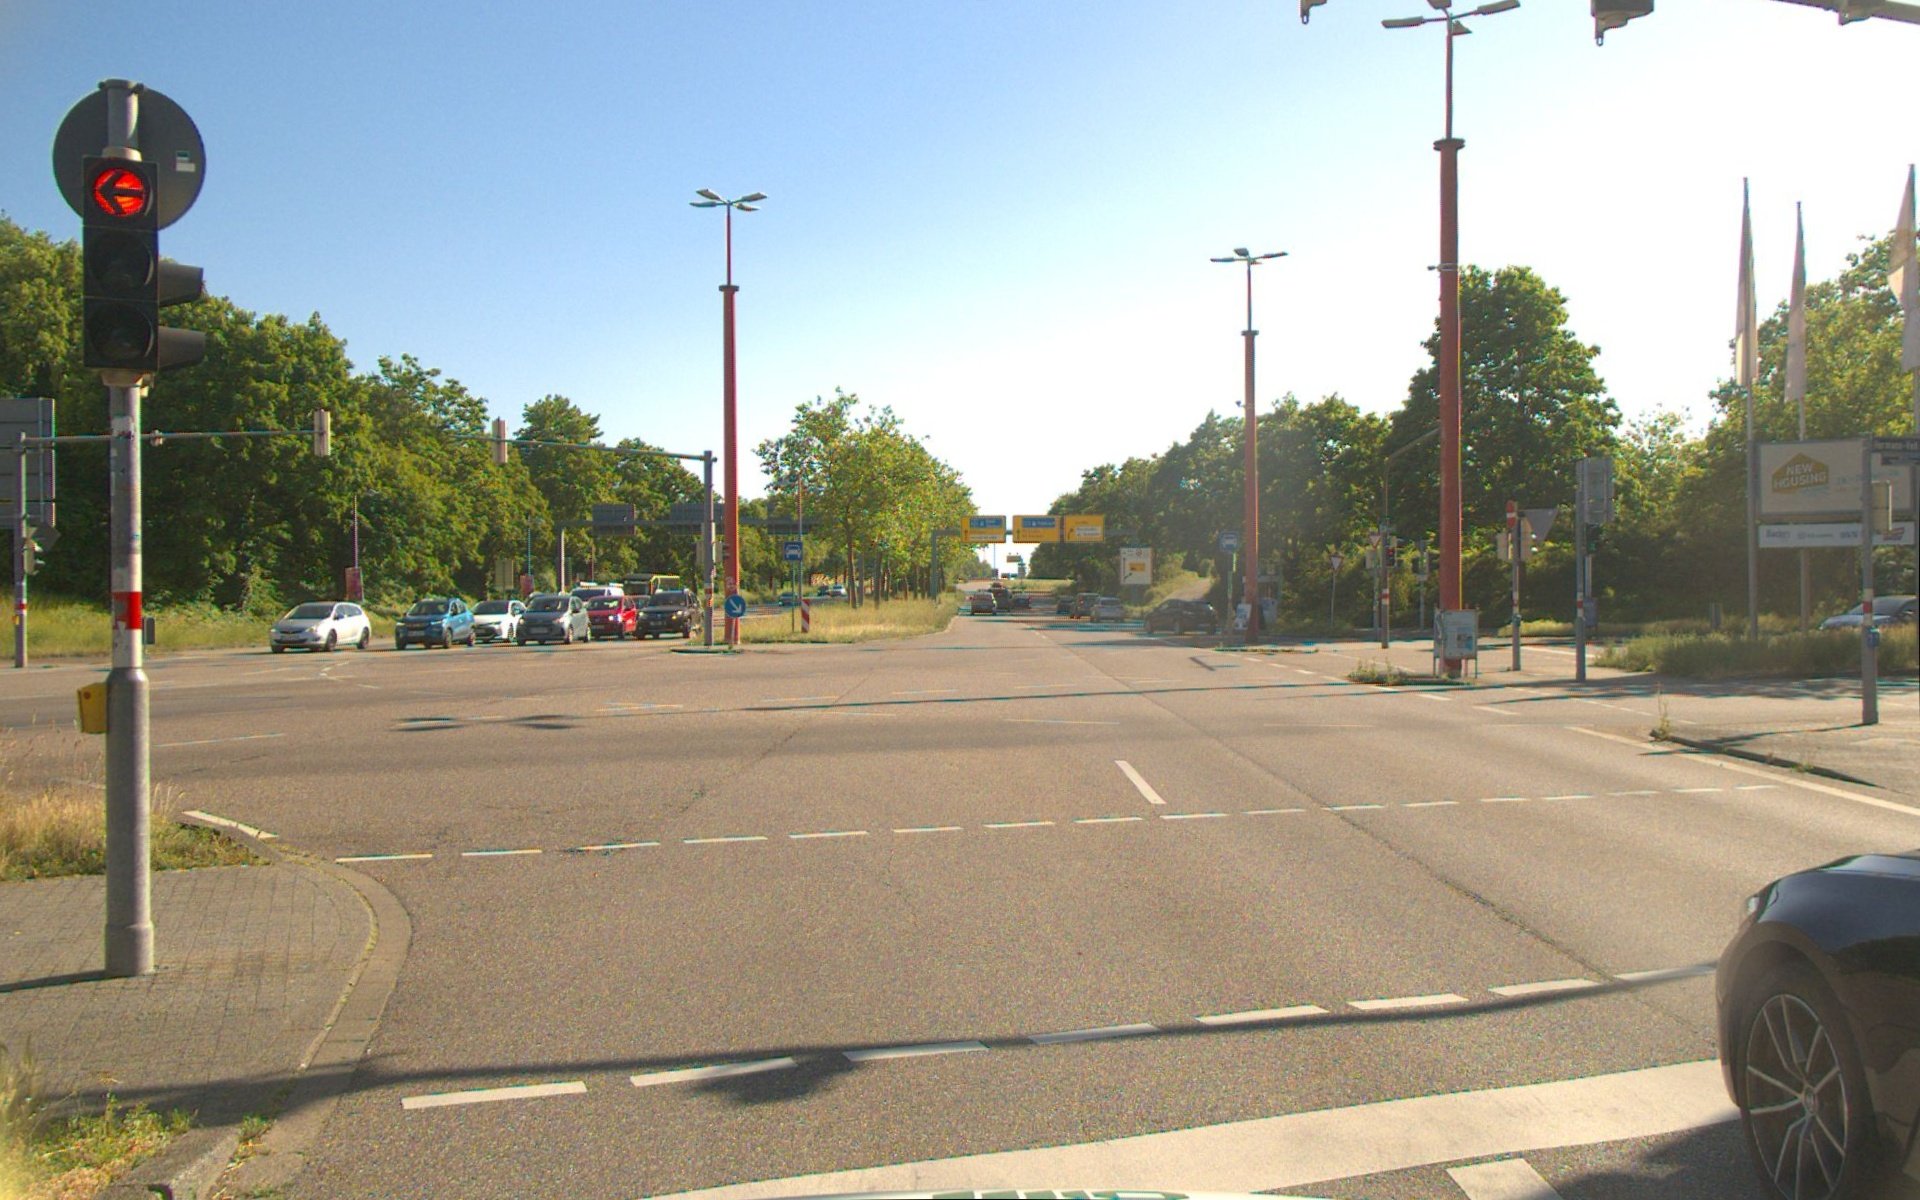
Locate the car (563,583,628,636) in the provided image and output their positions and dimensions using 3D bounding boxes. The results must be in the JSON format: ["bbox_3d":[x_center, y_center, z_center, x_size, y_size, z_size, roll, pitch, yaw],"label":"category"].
[{"bbox_3d":[-15.668,0.387,71.267,2.021,2.231,4.376,0,0,-3],"label":"car"}]

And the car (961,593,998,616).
[{"bbox_3d":[1.349,0.310,116.526,2.202,1.601,4.276,0,0,-5],"label":"car"}]

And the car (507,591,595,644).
[{"bbox_3d":[-12.802,0.522,51.967,1.954,1.601,4.118,0,0,-4],"label":"car"}]

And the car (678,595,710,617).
[{"bbox_3d":[-19.798,0.451,123.203,1.954,1.601,4.118,0,0,-3],"label":"car"}]

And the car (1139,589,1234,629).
[{"bbox_3d":[9.380,0.368,68.869,2.129,1.601,4.252,0,0,-22],"label":"car"}]

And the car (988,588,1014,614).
[{"bbox_3d":[3.319,0.080,135.559,1.953,2.049,3.999,0,0,-1],"label":"car"}]

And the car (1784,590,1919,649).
[{"bbox_3d":[23.866,0.482,43.112,4.201,1.453,1.874,0,0,-19],"label":"car"}]

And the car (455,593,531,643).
[{"bbox_3d":[-15.987,0.598,56.786,1.956,1.601,4.113,-1,0,-8],"label":"car"}]

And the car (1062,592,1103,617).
[{"bbox_3d":[8.216,0.282,111.307,2.116,1.601,4.277,0,0,-4],"label":"car"}]

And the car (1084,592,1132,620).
[{"bbox_3d":[8.713,0.319,97.759,2.116,1.601,4.277,0,0,-4],"label":"car"}]

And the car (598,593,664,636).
[{"bbox_3d":[-12.707,0.528,64.049,1.954,1.601,4.117,0,0,-4],"label":"car"}]

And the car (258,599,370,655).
[{"bbox_3d":[-19.583,0.786,50.300,1.954,1.601,4.118,0,0,-3],"label":"car"}]

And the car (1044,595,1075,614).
[{"bbox_3d":[7.841,0.336,130.405,1.915,1.467,4.277,0,0,-4],"label":"car"}]

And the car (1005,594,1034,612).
[{"bbox_3d":[5.354,0.237,149.307,2.116,1.601,4.277,0,0,-4],"label":"car"}]

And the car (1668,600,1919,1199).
[{"bbox_3d":[2.975,0.714,2.363,1.953,1.419,4.476,0,0,-1],"label":"car"}]

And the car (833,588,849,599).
[{"bbox_3d":[-16.198,-0.907,225.389,1.846,1.480,3.656,0,0,0],"label":"car"}]

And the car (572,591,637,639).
[{"bbox_3d":[-12.475,0.508,58.274,1.956,1.601,4.113,0,0,-8],"label":"car"}]

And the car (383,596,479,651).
[{"bbox_3d":[-16.205,0.683,50.893,1.955,1.601,4.116,0,0,-5],"label":"car"}]

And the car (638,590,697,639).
[{"bbox_3d":[-9.870,0.472,55.993,1.841,1.601,4.113,0,0,-8],"label":"car"}]

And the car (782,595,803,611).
[{"bbox_3d":[-17.438,0.325,172.567,1.954,1.601,4.118,0,0,-3],"label":"car"}]
